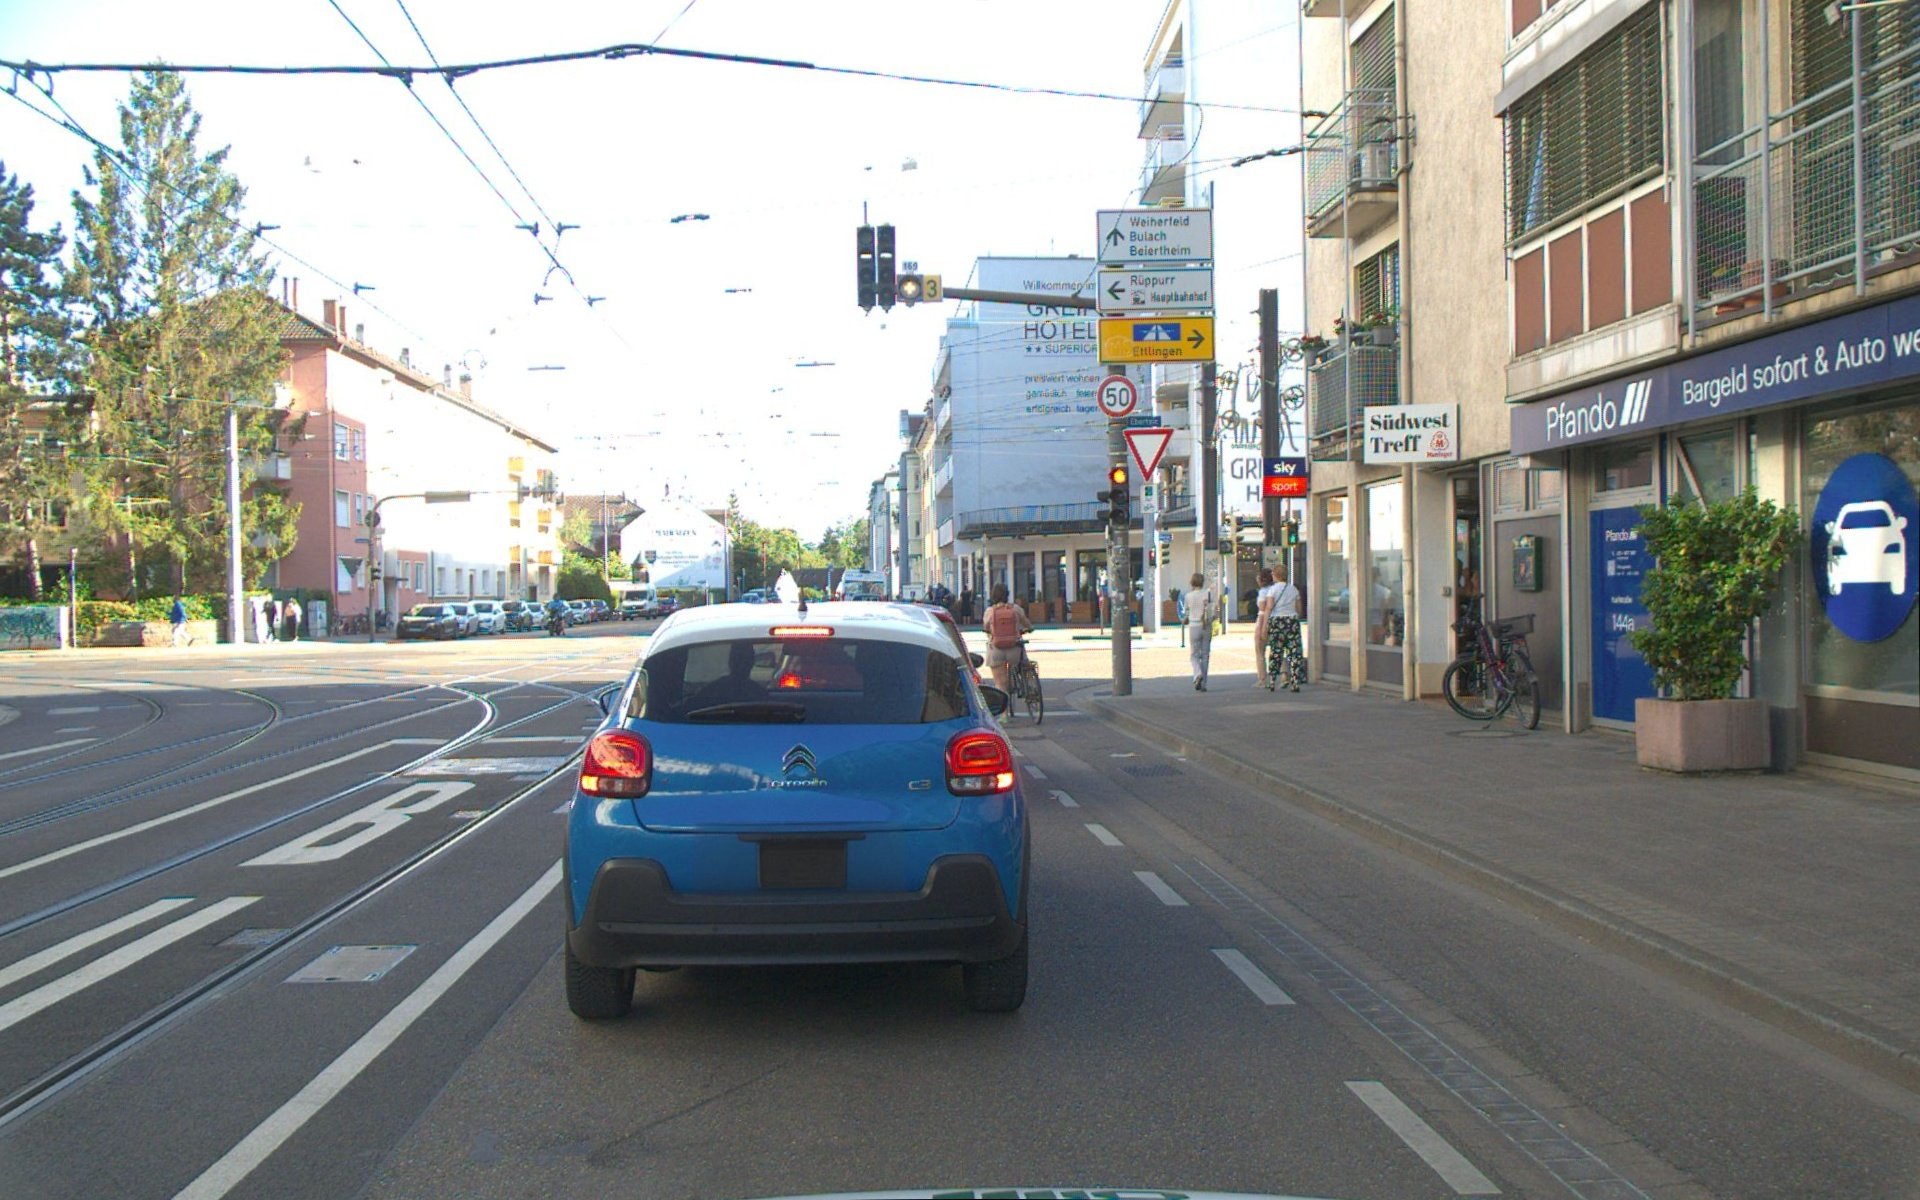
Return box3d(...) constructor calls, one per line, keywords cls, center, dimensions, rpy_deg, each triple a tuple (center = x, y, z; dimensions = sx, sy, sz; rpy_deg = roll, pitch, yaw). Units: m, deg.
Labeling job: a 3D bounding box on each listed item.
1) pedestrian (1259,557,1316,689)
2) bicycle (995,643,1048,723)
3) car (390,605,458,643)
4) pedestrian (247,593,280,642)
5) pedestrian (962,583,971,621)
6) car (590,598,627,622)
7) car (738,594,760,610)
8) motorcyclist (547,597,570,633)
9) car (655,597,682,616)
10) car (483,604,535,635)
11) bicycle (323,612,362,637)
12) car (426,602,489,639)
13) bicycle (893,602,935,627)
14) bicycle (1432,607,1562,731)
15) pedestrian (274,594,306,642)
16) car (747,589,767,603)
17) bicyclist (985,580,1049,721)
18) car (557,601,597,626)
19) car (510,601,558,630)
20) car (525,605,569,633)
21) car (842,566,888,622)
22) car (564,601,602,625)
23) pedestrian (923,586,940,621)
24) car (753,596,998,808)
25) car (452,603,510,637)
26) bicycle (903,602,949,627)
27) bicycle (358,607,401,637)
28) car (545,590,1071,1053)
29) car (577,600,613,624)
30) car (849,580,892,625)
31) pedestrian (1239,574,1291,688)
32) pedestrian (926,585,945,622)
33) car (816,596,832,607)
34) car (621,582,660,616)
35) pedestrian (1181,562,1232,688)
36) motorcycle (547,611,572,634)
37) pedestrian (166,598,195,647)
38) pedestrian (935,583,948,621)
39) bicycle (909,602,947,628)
box3d(cls="pedestrian", center=(4.361, 0.301, 22.029), dimensions=(0.530, 1.701, 0.650), rpy_deg=(-3, 0, -3))
box3d(cls="bicycle", center=(0.752, 1.014, 20.599), dimensions=(0.489, 0.879, 1.748), rpy_deg=(-1, 0, -3))
box3d(cls="car", center=(-22.147, 0.963, 68.484), dimensions=(1.874, 1.458, 3.995), rpy_deg=(-1, 0, -6))
box3d(cls="pedestrian", center=(-25.144, 0.631, 59.714), dimensions=(0.826, 1.720, 0.737), rpy_deg=(-1, 0, 2))
box3d(cls="pedestrian", center=(0.278, 0.077, 70.152), dimensions=(0.279, 1.583, 0.304), rpy_deg=(-1, 0, -10))
box3d(cls="car", center=(-25.721, 0.728, 121.193), dimensions=(1.990, 1.647, 4.508), rpy_deg=(-1, 0, -3))
box3d(cls="car", center=(-21.533, 0.159, 169.076), dimensions=(1.982, 1.552, 3.996), rpy_deg=(-1, 0, -5))
box3d(cls="motorcyclist", center=(-16.220, 0.606, 66.872), dimensions=(0.704, 1.402, 0.911), rpy_deg=(-1, 0, -1))
box3d(cls="car", center=(-25.375, 0.572, 144.100), dimensions=(1.982, 1.552, 3.996), rpy_deg=(-1, 0, -5))
box3d(cls="car", center=(-23.322, 0.990, 85.598), dimensions=(1.874, 1.523, 3.996), rpy_deg=(-1, 0, -5))
box3d(cls="bicycle", center=(-25.082, 0.991, 67.245), dimensions=(0.718, 0.968, 2.596), rpy_deg=(-1, 0, -2))
box3d(cls="car", center=(-22.506, 0.889, 74.205), dimensions=(1.874, 1.523, 3.996), rpy_deg=(-1, 0, -5))
box3d(cls="bicycle", center=(-1.898, 0.603, 68.379), dimensions=(1.684, 0.973, 0.702), rpy_deg=(-1, 0, 1))
box3d(cls="bicycle", center=(5.103, 0.630, 15.823), dimensions=(0.519, 1.091, 1.809), rpy_deg=(-1, 0, -4))
box3d(cls="pedestrian", center=(-24.190, 0.644, 59.719), dimensions=(0.826, 1.720, 0.737), rpy_deg=(-1, 0, 2))
box3d(cls="car", center=(-22.956, -0.429, 187.095), dimensions=(1.982, 1.552, 3.996), rpy_deg=(-1, 0, -5))
box3d(cls="bicyclist", center=(0.691, 0.607, 20.296), dimensions=(0.711, 1.674, 0.790), rpy_deg=(-1, 0, -1))
box3d(cls="car", center=(-24.469, 0.854, 105.695), dimensions=(1.874, 1.523, 3.996), rpy_deg=(-1, 0, -5))
box3d(cls="car", center=(-23.604, 0.824, 91.732), dimensions=(1.874, 1.523, 3.996), rpy_deg=(-1, 0, -5))
box3d(cls="car", center=(-24.268, 1.102, 97.293), dimensions=(1.874, 1.523, 3.996), rpy_deg=(-1, 0, -5))
box3d(cls="car", center=(-4.163, -0.244, 72.378), dimensions=(1.954, 2.366, 3.997), rpy_deg=(0, 0, -4))
box3d(cls="car", center=(-25.196, 0.864, 110.683), dimensions=(1.874, 1.523, 3.996), rpy_deg=(-1, 0, -5))
box3d(cls="pedestrian", center=(-1.280, 0.160, 74.284), dimensions=(0.637, 1.583, 0.490), rpy_deg=(-1, 0, -23))
box3d(cls="car", center=(-0.618, 0.711, 13.630), dimensions=(1.703, 1.445, 3.999), rpy_deg=(-1, 0, -1))
box3d(cls="car", center=(-22.784, 0.920, 78.824), dimensions=(1.874, 1.523, 3.996), rpy_deg=(-1, 0, -5))
box3d(cls="bicycle", center=(-1.364, 0.597, 67.029), dimensions=(1.835, 0.973, 0.702), rpy_deg=(-1, 0, 1))
box3d(cls="bicycle", center=(-25.703, 0.966, 73.285), dimensions=(0.831, 1.247, 3.302), rpy_deg=(-1, 0, -2))
box3d(cls="car", center=(-0.708, 0.708, 7.405), dimensions=(1.710, 1.488, 3.994), rpy_deg=(0, 0, -7))
box3d(cls="car", center=(-25.514, 0.817, 115.770), dimensions=(1.833, 1.601, 3.997), rpy_deg=(-1, 0, -4))
box3d(cls="car", center=(-3.666, 0.101, 67.470), dimensions=(1.698, 1.780, 3.211), rpy_deg=(0, 0, -4))
box3d(cls="pedestrian", center=(4.250, 0.423, 23.076), dimensions=(0.530, 1.534, 0.611), rpy_deg=(-3, 2, -3))
box3d(cls="pedestrian", center=(-1.075, 0.156, 72.484), dimensions=(0.637, 1.583, 0.490), rpy_deg=(-1, 0, -23))
box3d(cls="car", center=(-16.135, 0.192, 196.213), dimensions=(1.722, 1.281, 3.826), rpy_deg=(-1, 0, -8))
box3d(cls="car", center=(-22.947, -0.081, 118.961), dimensions=(2.164, 2.290, 4.672), rpy_deg=(-1, 0, -5))
box3d(cls="pedestrian", center=(3.435, 0.333, 23.089), dimensions=(0.530, 1.701, 0.624), rpy_deg=(-3, 2, -3))
box3d(cls="motorcycle", center=(-16.227, 0.898, 67.027), dimensions=(0.603, 0.879, 1.670), rpy_deg=(-1, 0, -1))
box3d(cls="pedestrian", center=(-26.747, 0.765, 56.755), dimensions=(0.841, 1.654, 0.509), rpy_deg=(-1, 0, -35))
box3d(cls="pedestrian", center=(-0.783, 0.082, 69.647), dimensions=(0.482, 1.583, 0.383), rpy_deg=(-1, 0, -4))
box3d(cls="bicycle", center=(-1.259, 0.597, 65.971), dimensions=(1.473, 0.973, 0.702), rpy_deg=(-1, 0, 1))
